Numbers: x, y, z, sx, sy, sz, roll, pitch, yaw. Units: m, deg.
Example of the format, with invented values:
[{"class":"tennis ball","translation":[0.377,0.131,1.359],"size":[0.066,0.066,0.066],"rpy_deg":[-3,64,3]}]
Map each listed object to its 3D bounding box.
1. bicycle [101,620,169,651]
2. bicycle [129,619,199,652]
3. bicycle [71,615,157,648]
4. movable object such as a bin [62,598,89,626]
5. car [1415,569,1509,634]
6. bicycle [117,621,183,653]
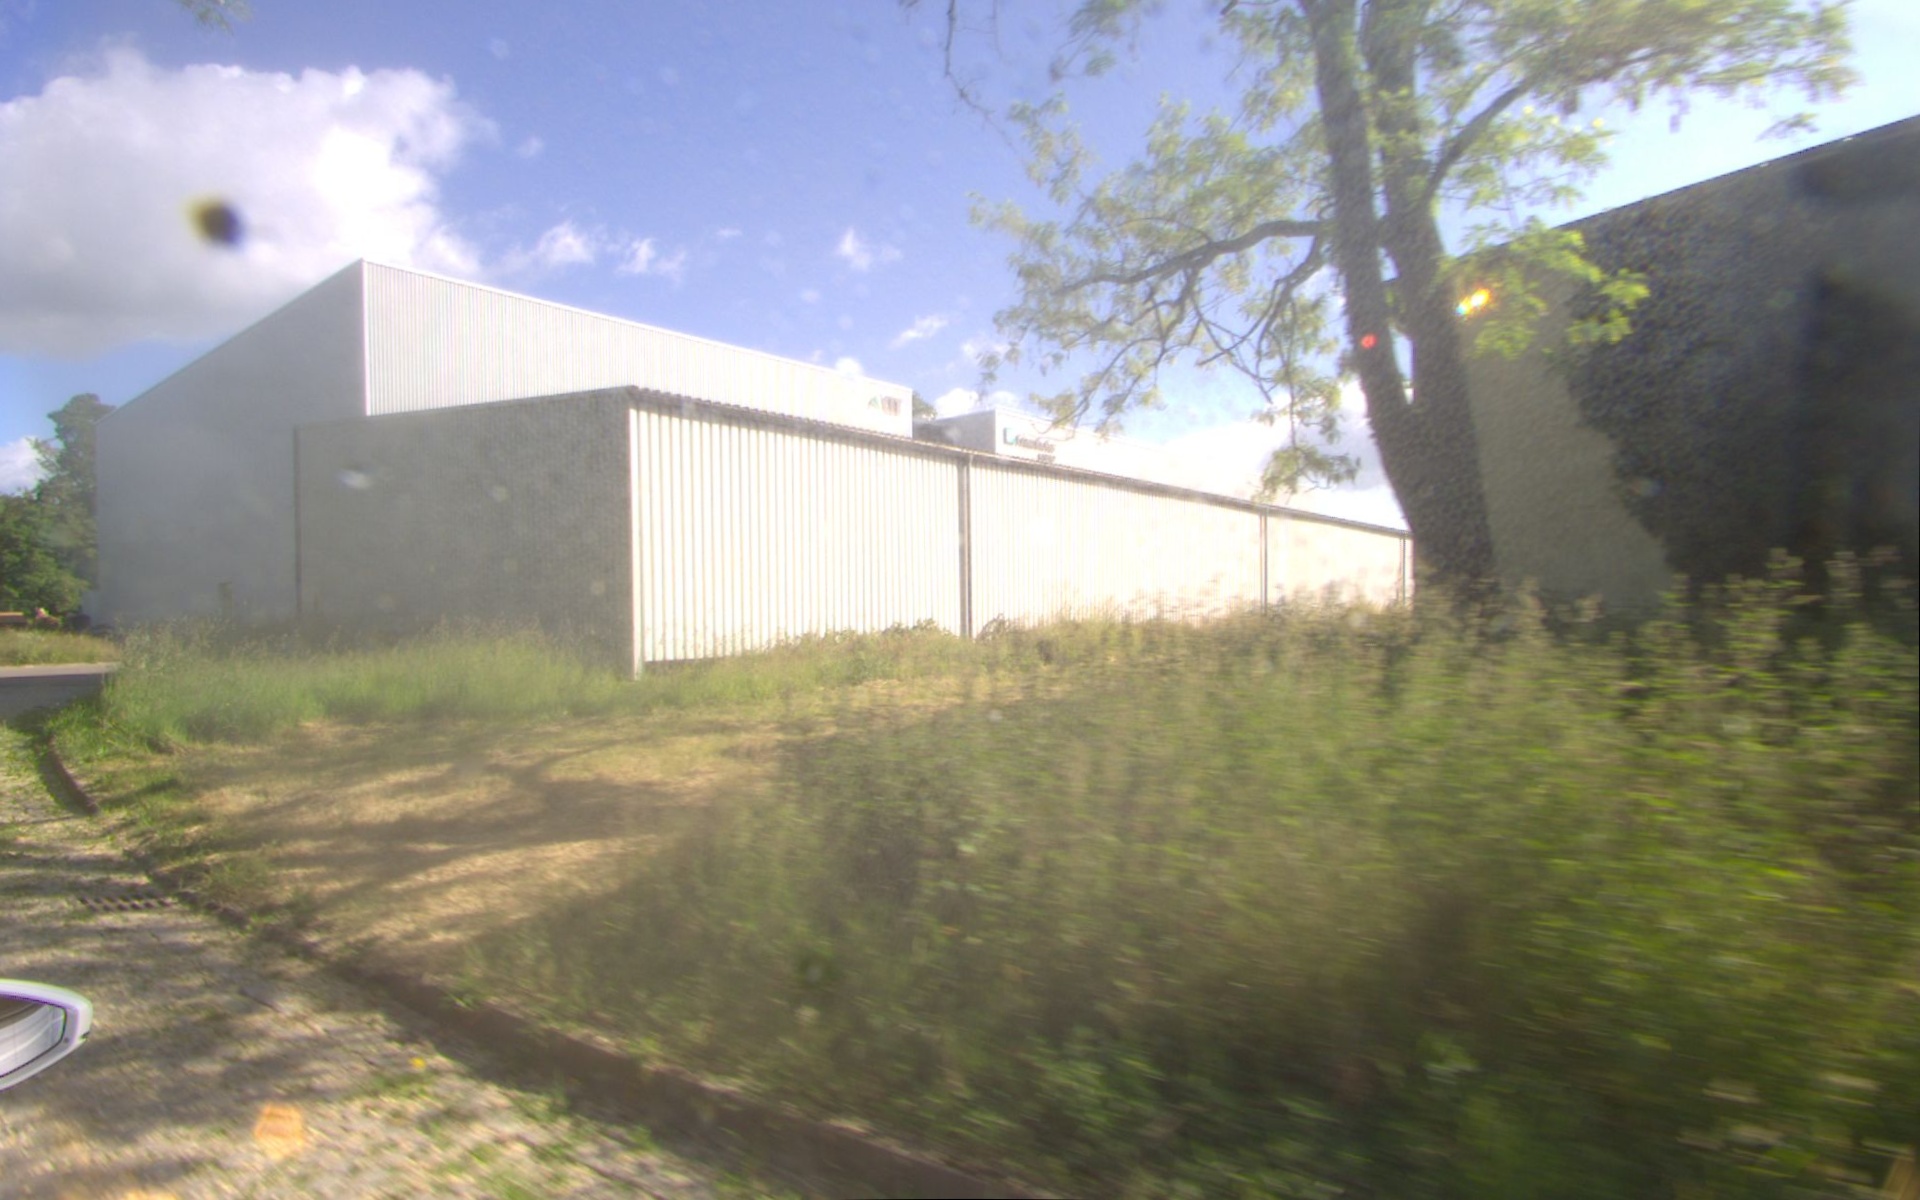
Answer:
[{"class":"bicycle","translation":[-30.776,1.319,37.371],"size":[0.519,1.109,1.880],"rpy_deg":[-1,0,38]},{"class":"bicycle","translation":[-26.999,1.204,33.994],"size":[0.453,1.076,1.794],"rpy_deg":[0,0,35]},{"class":"bicycle","translation":[-34.798,1.266,41.227],"size":[1.129,1.283,2.615],"rpy_deg":[0,0,44]},{"class":"movable object such as a bin","translation":[-65.856,0.866,74.576],"size":[1.113,2.040,1.410],"rpy_deg":[0,0,44]},{"class":"car","translation":[16.747,0.060,33.306],"size":[1.976,2.040,3.969],"rpy_deg":[0,0,40]},{"class":"bicycle","translation":[-28.871,1.292,35.716],"size":[0.519,1.097,1.783],"rpy_deg":[0,0,41]}]
